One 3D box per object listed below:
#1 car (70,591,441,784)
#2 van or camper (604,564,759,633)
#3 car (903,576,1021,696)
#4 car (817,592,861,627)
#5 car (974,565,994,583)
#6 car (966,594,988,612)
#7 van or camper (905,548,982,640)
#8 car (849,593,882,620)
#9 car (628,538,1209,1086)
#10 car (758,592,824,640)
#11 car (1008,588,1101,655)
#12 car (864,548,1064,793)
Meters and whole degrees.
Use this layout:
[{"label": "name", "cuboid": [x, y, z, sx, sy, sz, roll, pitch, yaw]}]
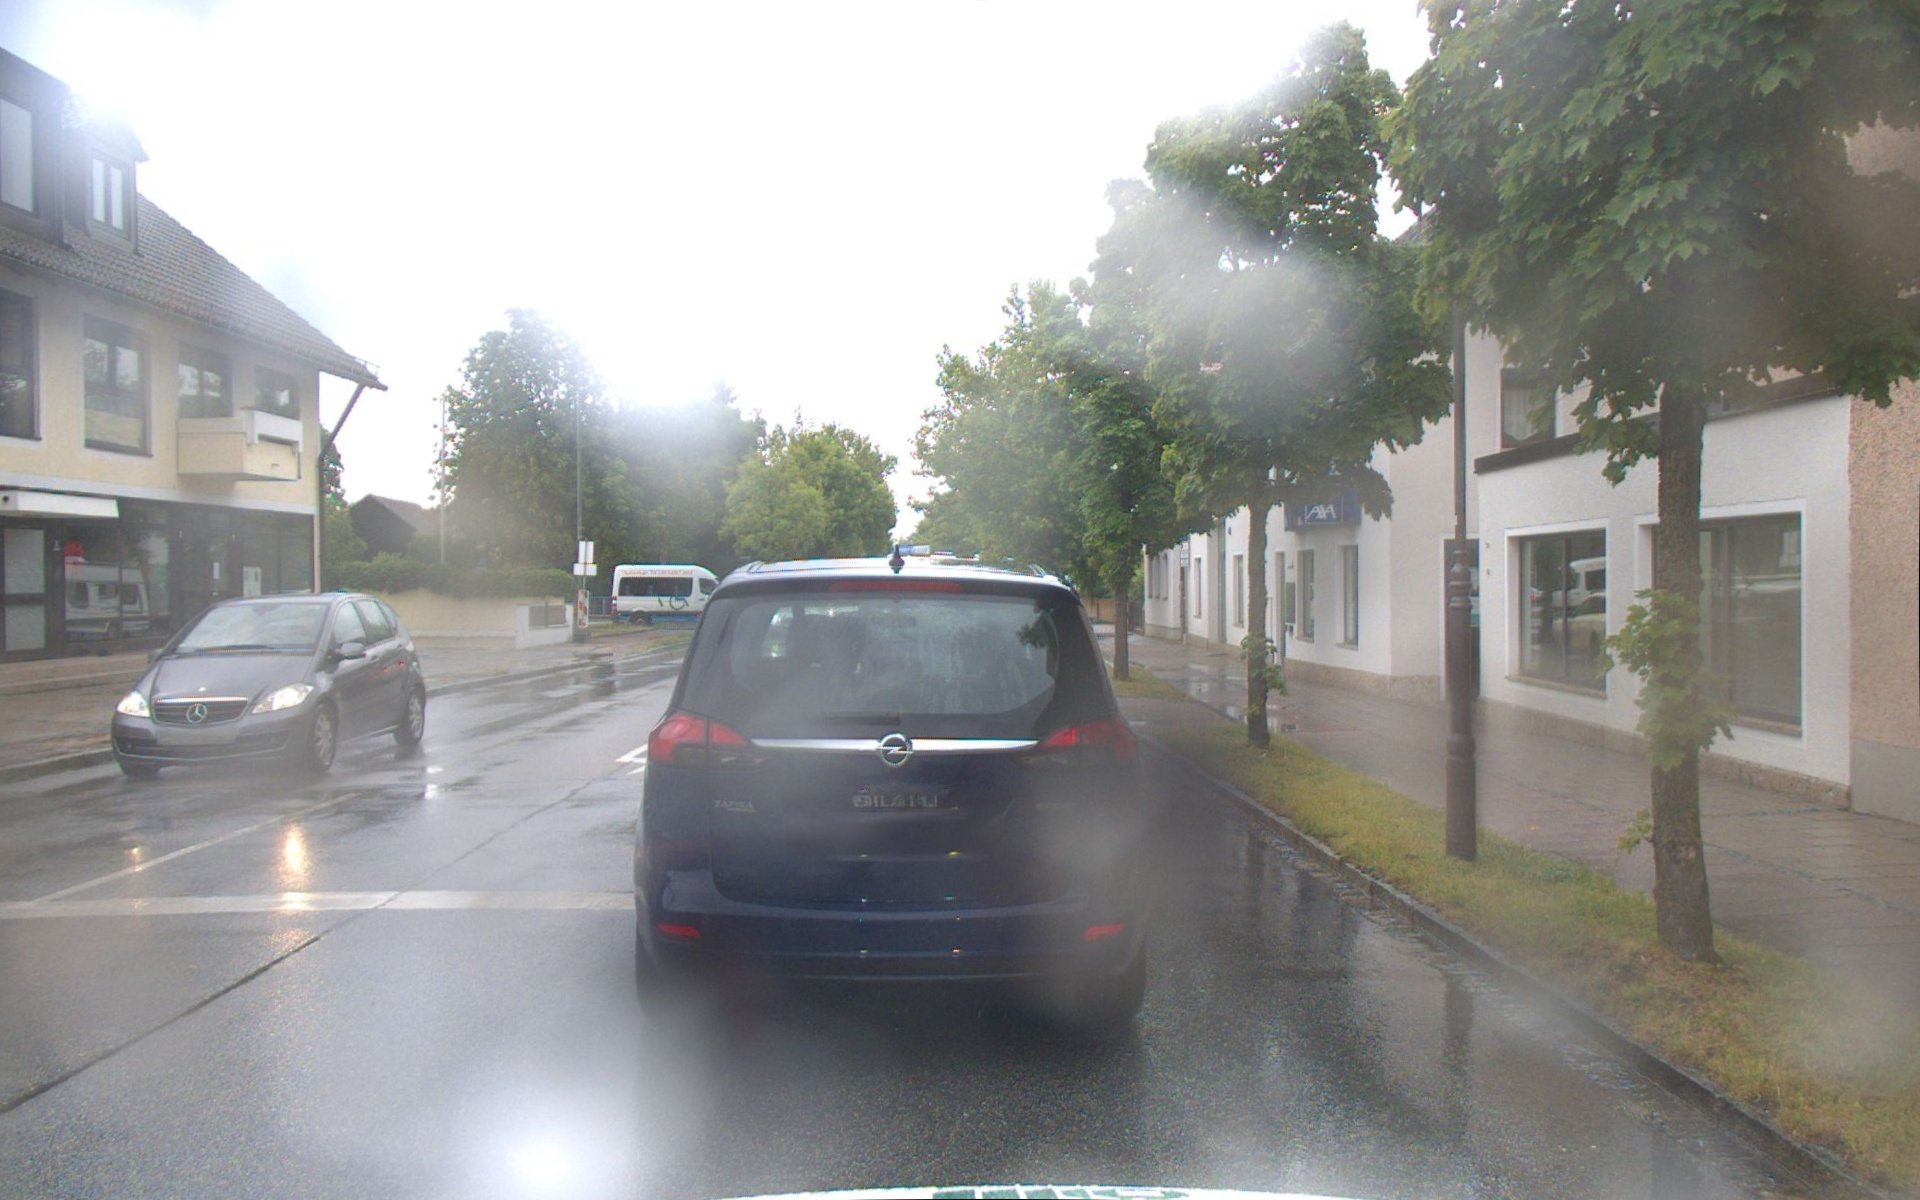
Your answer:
[{"label": "car", "cuboid": [-6.468, 0.717, 15.695, 1.877, 1.560, 3.898, -1, 0, -1]}, {"label": "van or camper", "cuboid": [-11.400, -0.070, 68.060, 6.127, 2.754, 2.098, 0, 0, -6]}, {"label": "car", "cuboid": [0.003, 0.520, 25.950, 1.720, 1.736, 3.618, 0, 0, -1]}, {"label": "car", "cuboid": [-5.765, 0.434, 79.433, 1.887, 1.594, 4.125, -1, 0, -1]}, {"label": "car", "cuboid": [2.054, -2.192, 141.204, 1.597, 1.402, 3.622, -1, 0, -1]}, {"label": "car", "cuboid": [1.323, 0.264, 131.762, 1.597, 1.402, 3.622, 1, 0, -1]}, {"label": "van or camper", "cuboid": [-0.528, -0.193, 52.121, 2.312, 2.712, 5.370, 0, 0, -1]}, {"label": "car", "cuboid": [-5.658, 0.377, 99.574, 1.716, 1.537, 4.230, -2, 0, 0]}, {"label": "car", "cuboid": [-0.147, 0.639, 6.850, 1.733, 1.632, 3.662, 1, 0, -1]}, {"label": "car", "cuboid": [-5.923, 0.553, 58.254, 1.927, 1.590, 4.151, -1, 0, -1]}, {"label": "car", "cuboid": [2.396, 0.543, 42.889, 2.075, 1.609, 3.934, 1, 0, -2]}, {"label": "car", "cuboid": [0.009, 0.523, 13.985, 1.470, 1.807, 3.111, 1, 0, -1]}]
